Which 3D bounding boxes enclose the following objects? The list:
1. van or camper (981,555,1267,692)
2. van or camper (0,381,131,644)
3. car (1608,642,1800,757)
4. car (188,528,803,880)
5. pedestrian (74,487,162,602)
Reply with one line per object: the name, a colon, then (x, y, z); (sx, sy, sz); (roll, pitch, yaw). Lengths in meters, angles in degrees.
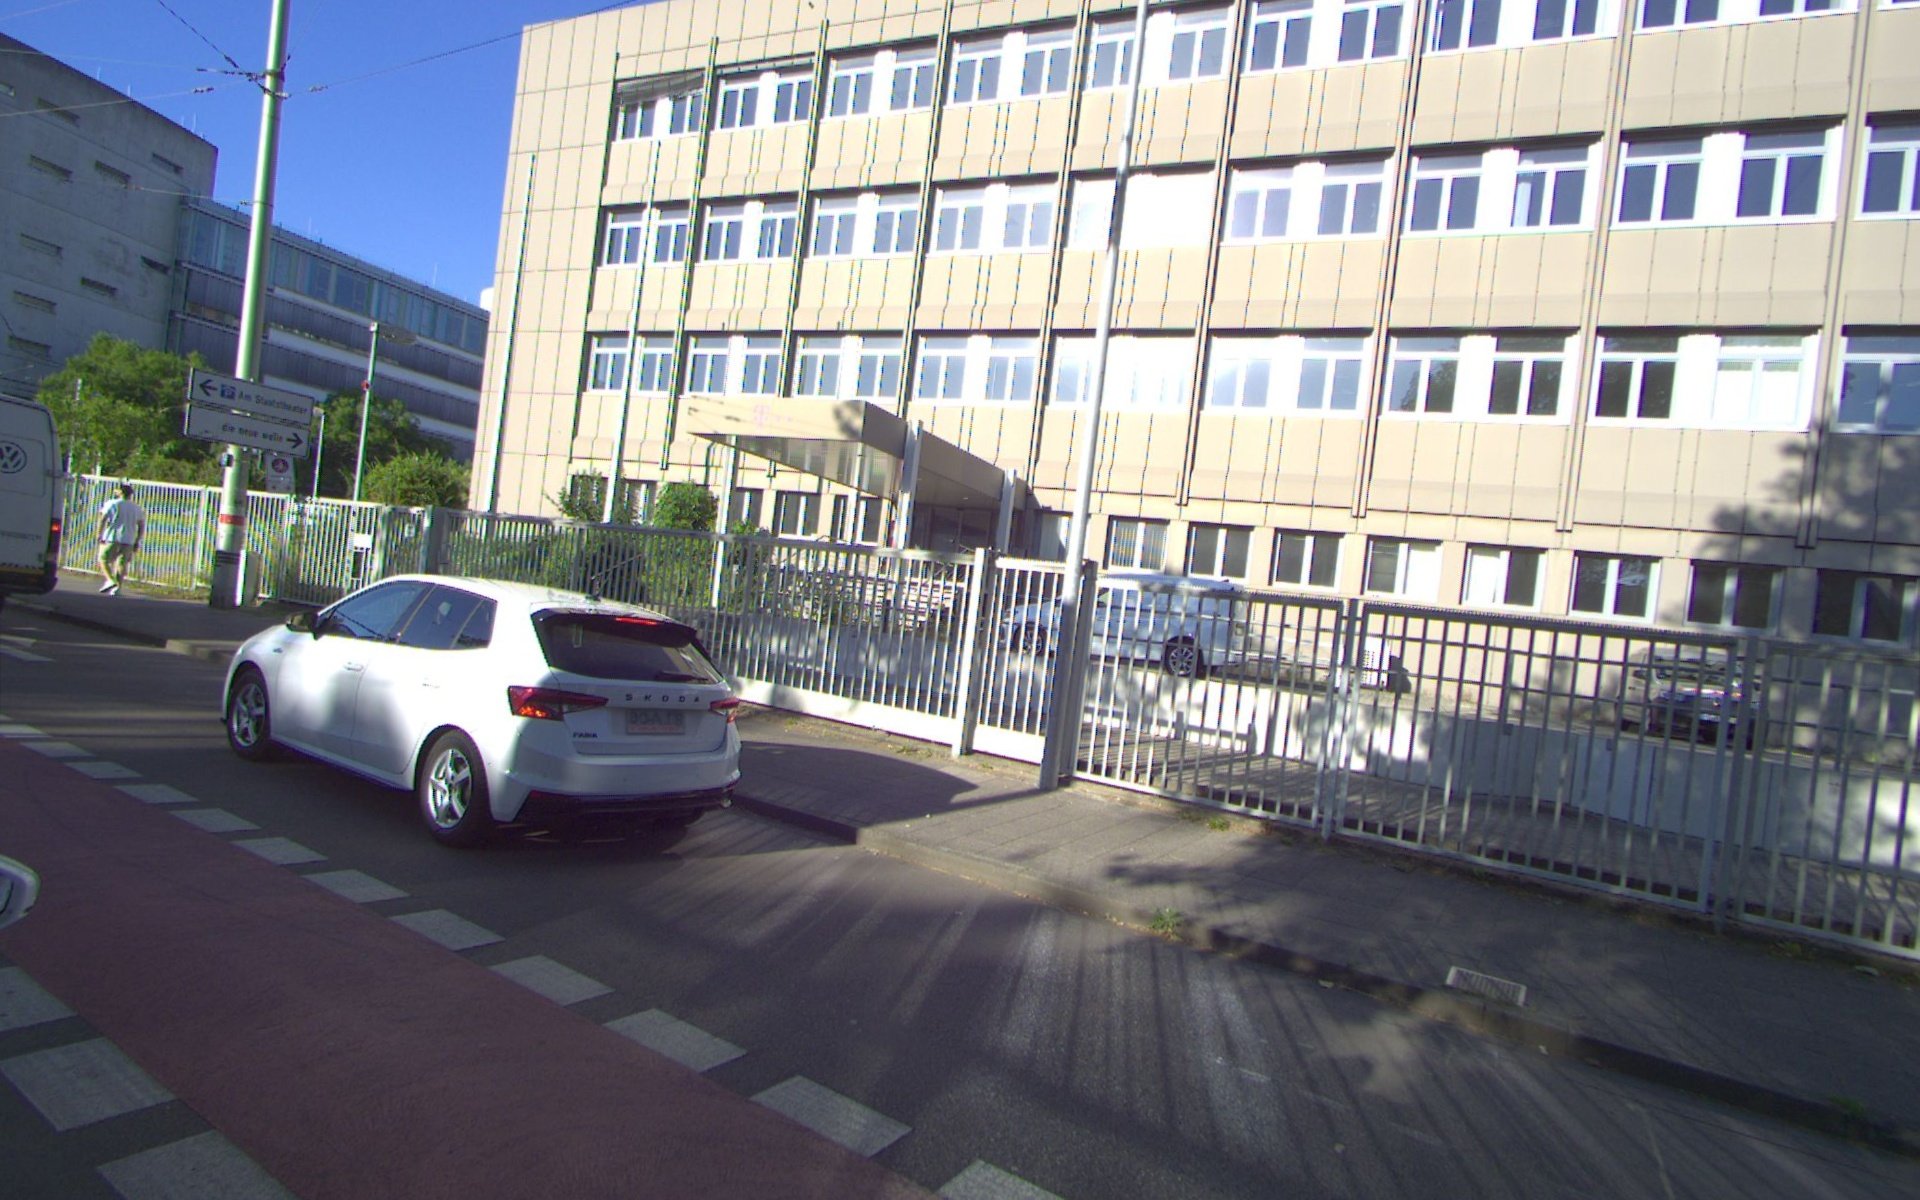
van or camper: (3.124, 0.418, 19.262); (4.909, 1.932, 1.985); (7, 0, 24)
van or camper: (-13.241, -1.313, 12.194); (6.234, 2.764, 2.277); (7, -2, 26)
car: (14.260, 1.862, 19.582); (1.958, 1.739, 4.263); (7, -1, 24)
car: (-3.207, 0.519, 6.751); (3.916, 1.518, 1.805); (7, -1, 33)
pedestrian: (-13.935, -0.917, 16.663); (0.759, 1.770, 0.787); (7, 1, 30)
